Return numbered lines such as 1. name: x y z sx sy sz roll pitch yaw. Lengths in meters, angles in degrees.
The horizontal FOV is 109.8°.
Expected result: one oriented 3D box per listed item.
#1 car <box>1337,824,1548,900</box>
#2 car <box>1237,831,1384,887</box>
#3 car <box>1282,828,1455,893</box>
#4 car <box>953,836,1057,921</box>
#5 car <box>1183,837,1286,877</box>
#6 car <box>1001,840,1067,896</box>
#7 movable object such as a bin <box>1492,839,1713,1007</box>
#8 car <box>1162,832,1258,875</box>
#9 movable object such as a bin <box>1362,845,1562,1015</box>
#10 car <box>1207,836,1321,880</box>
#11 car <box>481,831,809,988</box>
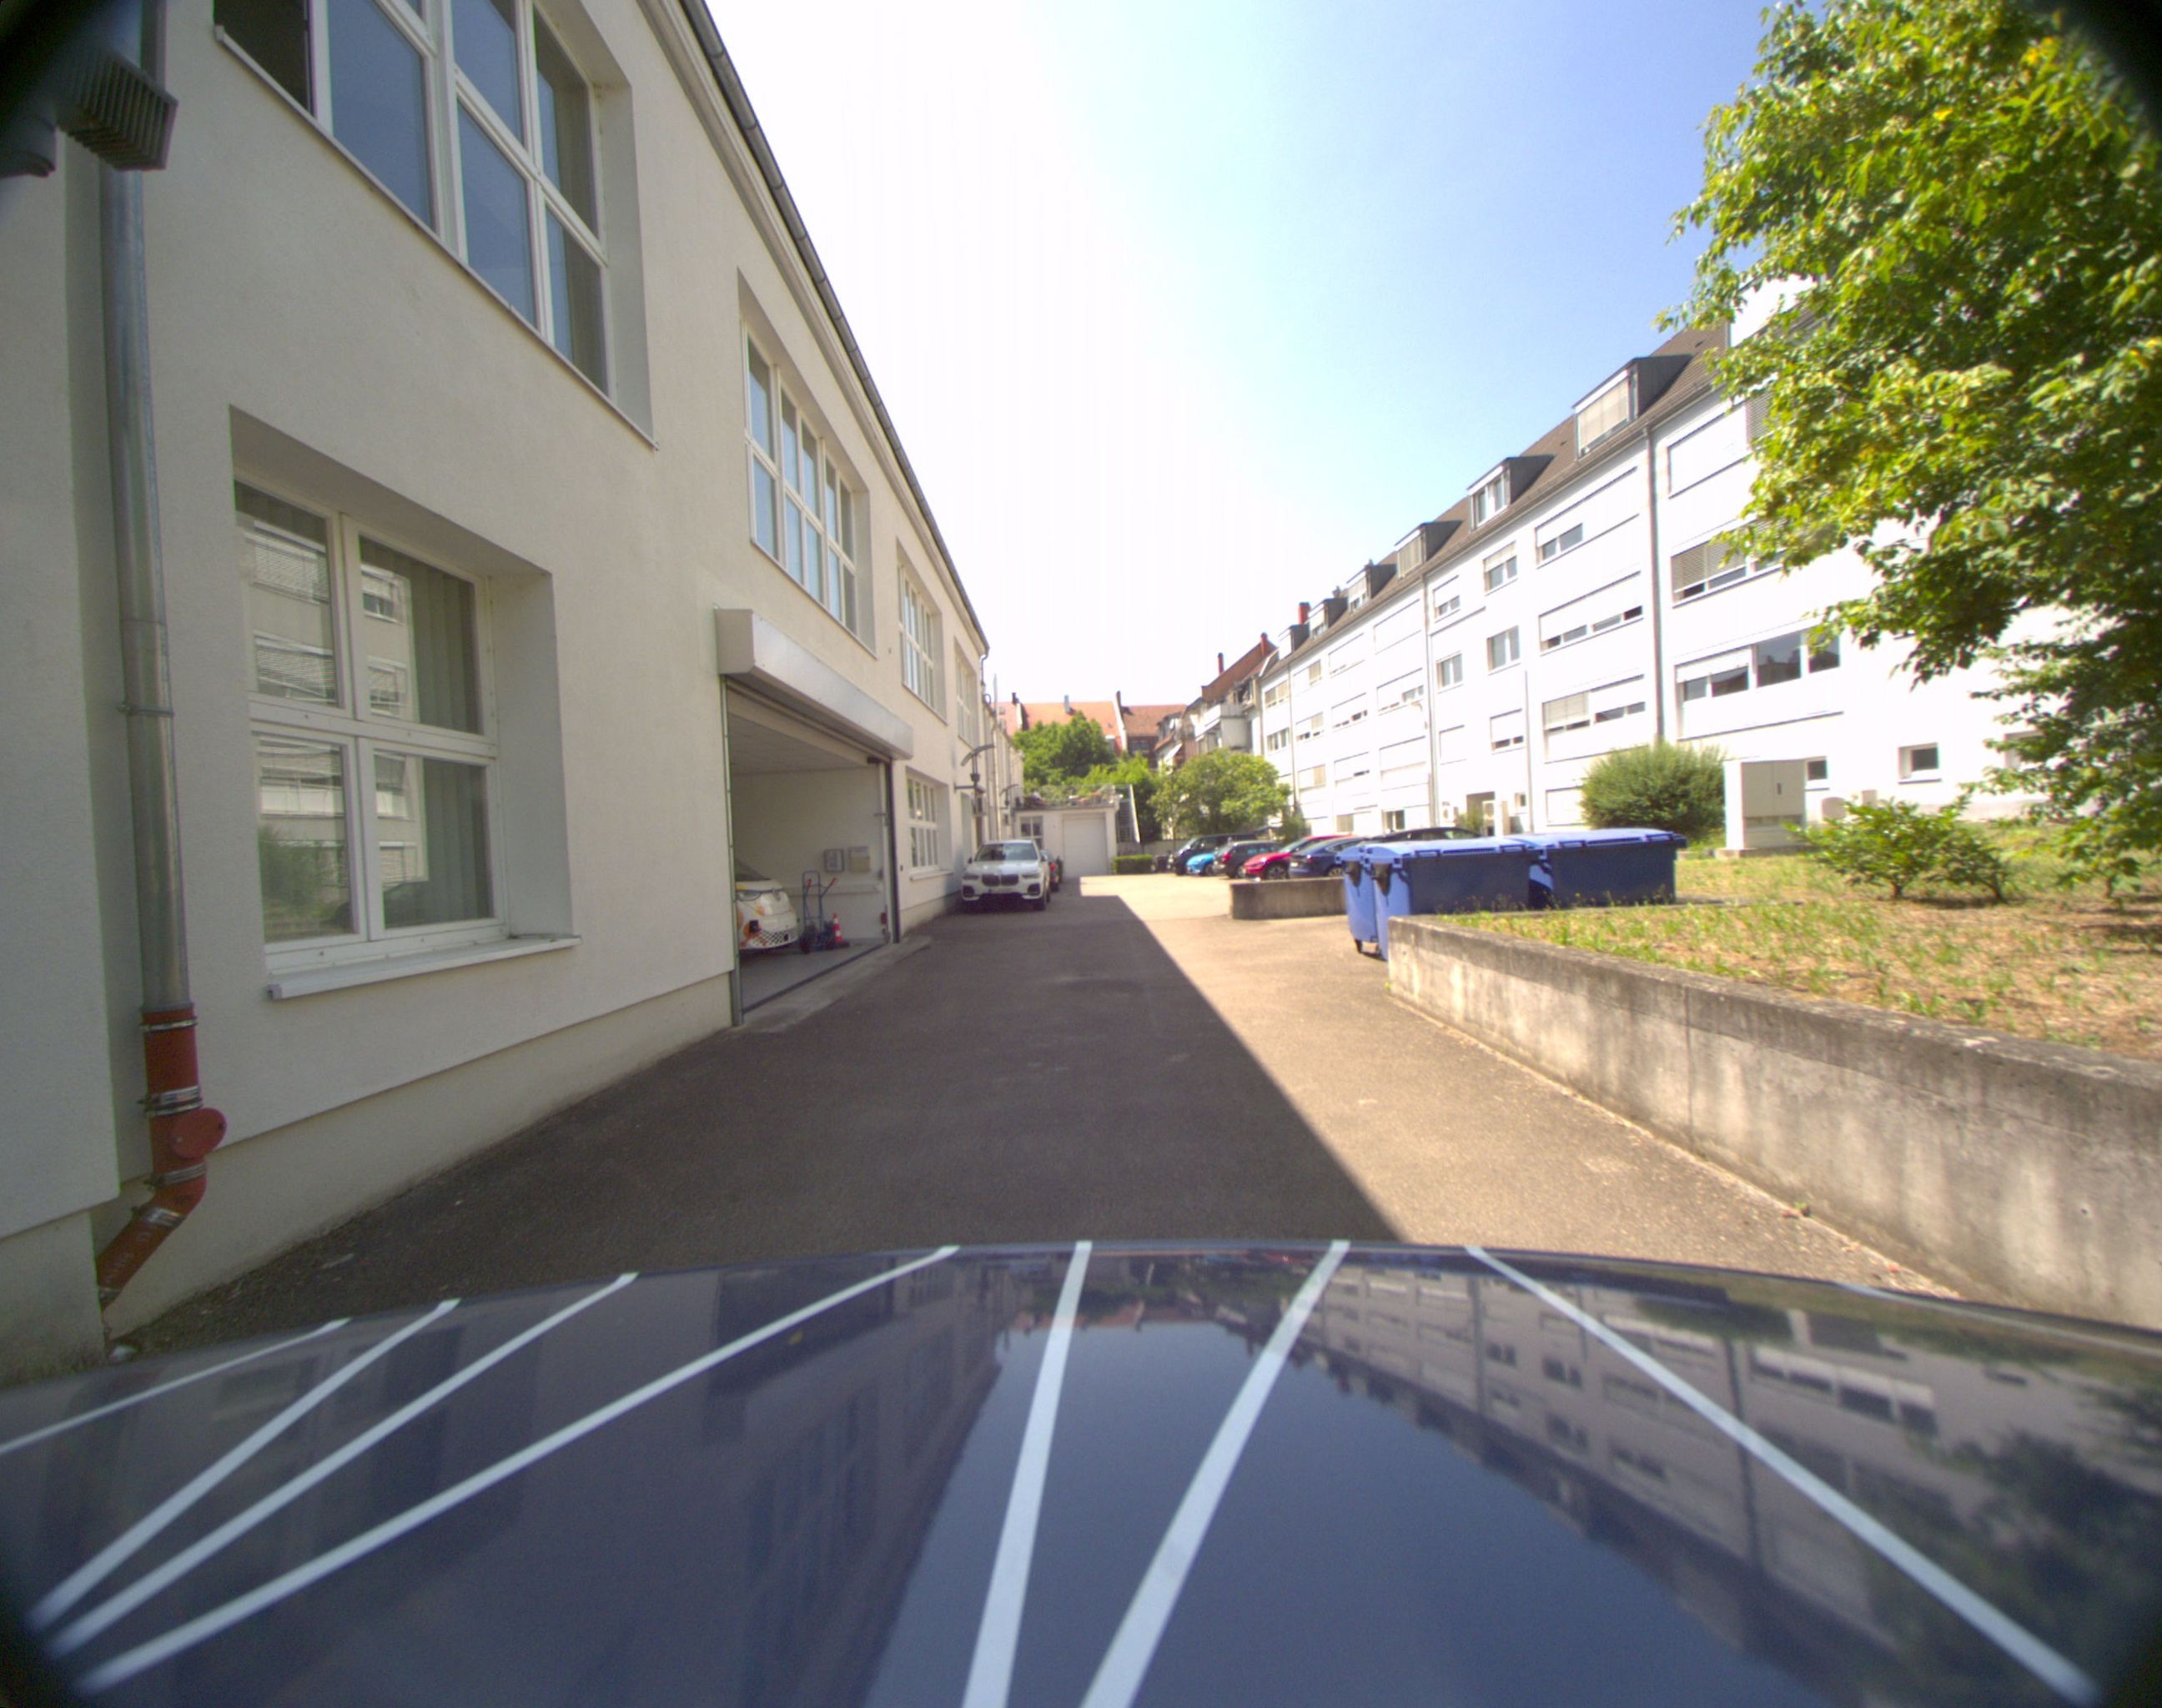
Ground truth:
1. car: 8.804 0.173 18.695 4.445 1.560 1.612 -3 2 -5
2. car: 7.403 0.137 24.715 4.223 1.560 1.612 -3 2 -5
3. car: 8.036 0.148 21.406 4.223 1.560 1.612 -3 2 -5
4. car: -1.773 0.494 19.324 2.011 1.793 4.726 -3 1 1
5. car: 6.900 0.115 34.394 4.223 1.560 1.612 -3 2 -5
6. car: -1.624 0.438 28.126 2.011 1.793 4.726 -3 1 1
7. movable object such as a bin: 4.751 0.582 7.038 1.271 1.381 1.095 -3 2 1
8. car: 6.294 -0.050 37.330 4.223 1.813 2.008 -3 2 -5
9. movable object such as a bin: 3.453 0.645 7.024 1.271 1.381 1.095 -3 2 1
10. car: 7.489 0.137 31.332 4.223 1.560 1.612 -3 2 -5
11. car: -6.318 0.761 11.280 3.836 2.002 1.654 -3 2 4
